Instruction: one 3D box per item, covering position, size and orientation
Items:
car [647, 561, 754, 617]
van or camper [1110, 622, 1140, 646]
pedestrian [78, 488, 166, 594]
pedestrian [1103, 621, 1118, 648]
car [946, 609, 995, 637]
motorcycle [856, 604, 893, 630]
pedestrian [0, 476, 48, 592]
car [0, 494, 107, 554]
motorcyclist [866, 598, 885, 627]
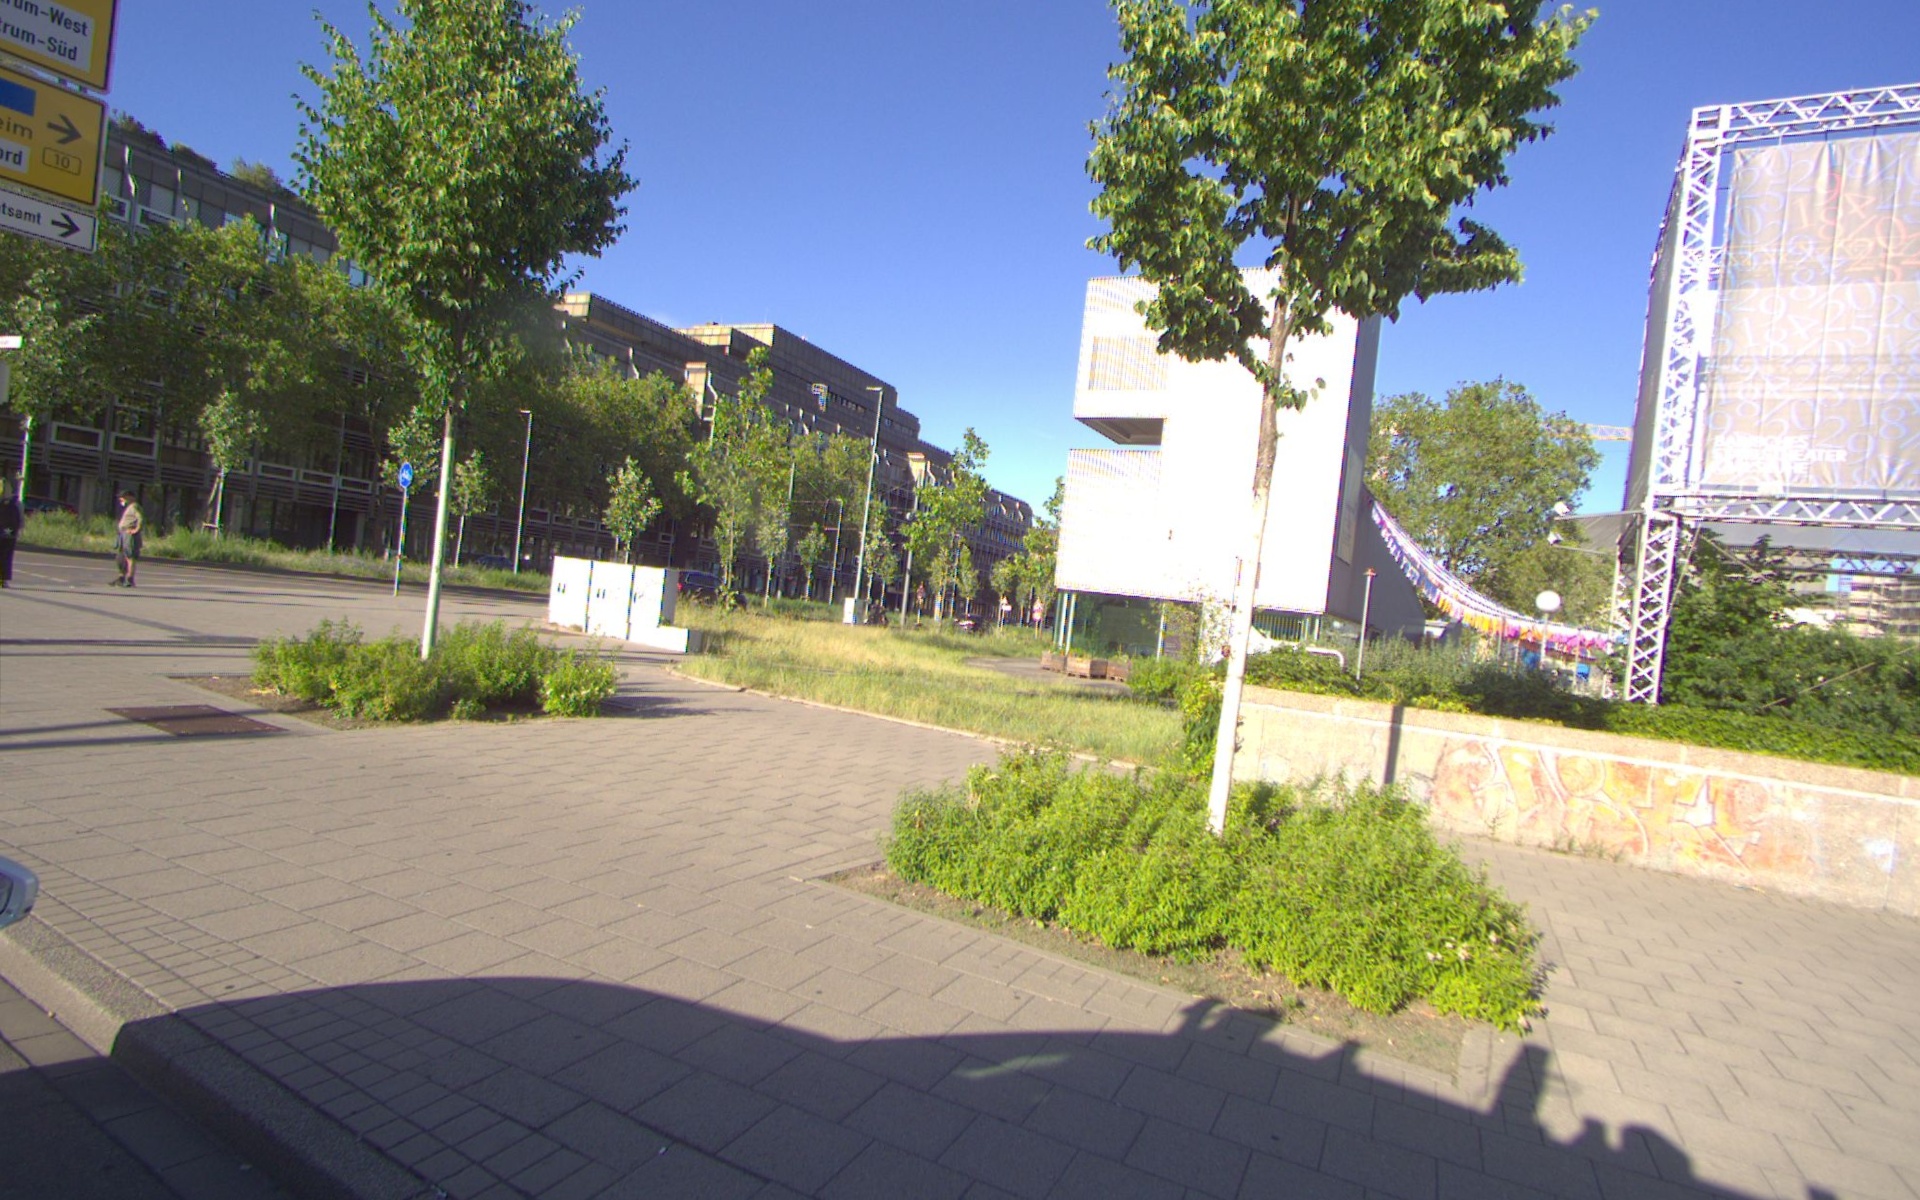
[{"bbox_3d":[-10.775,-0.400,42.188,1.851,1.886,4.833,7,-1,18],"label":"car"},{"bbox_3d":[16.609,3.461,101.088,1.969,2.038,4.844,7,-1,19],"label":"van or camper"},{"bbox_3d":[-14.903,-1.036,17.902,0.755,1.728,0.873,7,1,30],"label":"pedestrian"},{"bbox_3d":[9.127,2.088,61.122,0.520,1.571,0.638,7,-1,31],"label":"pedestrian"},{"bbox_3d":[0.721,1.530,66.612,1.642,1.528,3.871,7,-1,25],"label":"car"},{"bbox_3d":[-4.617,0.930,54.734,0.716,1.223,2.602,8,0,24],"label":"motorcycle"},{"bbox_3d":[-14.247,-1.007,14.902,0.859,1.634,0.767,7,1,30],"label":"pedestrian"},{"bbox_3d":[-33.236,-2.786,35.529,1.792,1.704,4.302,7,-1,21],"label":"car"},{"bbox_3d":[-4.595,0.680,54.705,0.636,1.441,0.658,8,1,24],"label":"motorcyclist"}]
